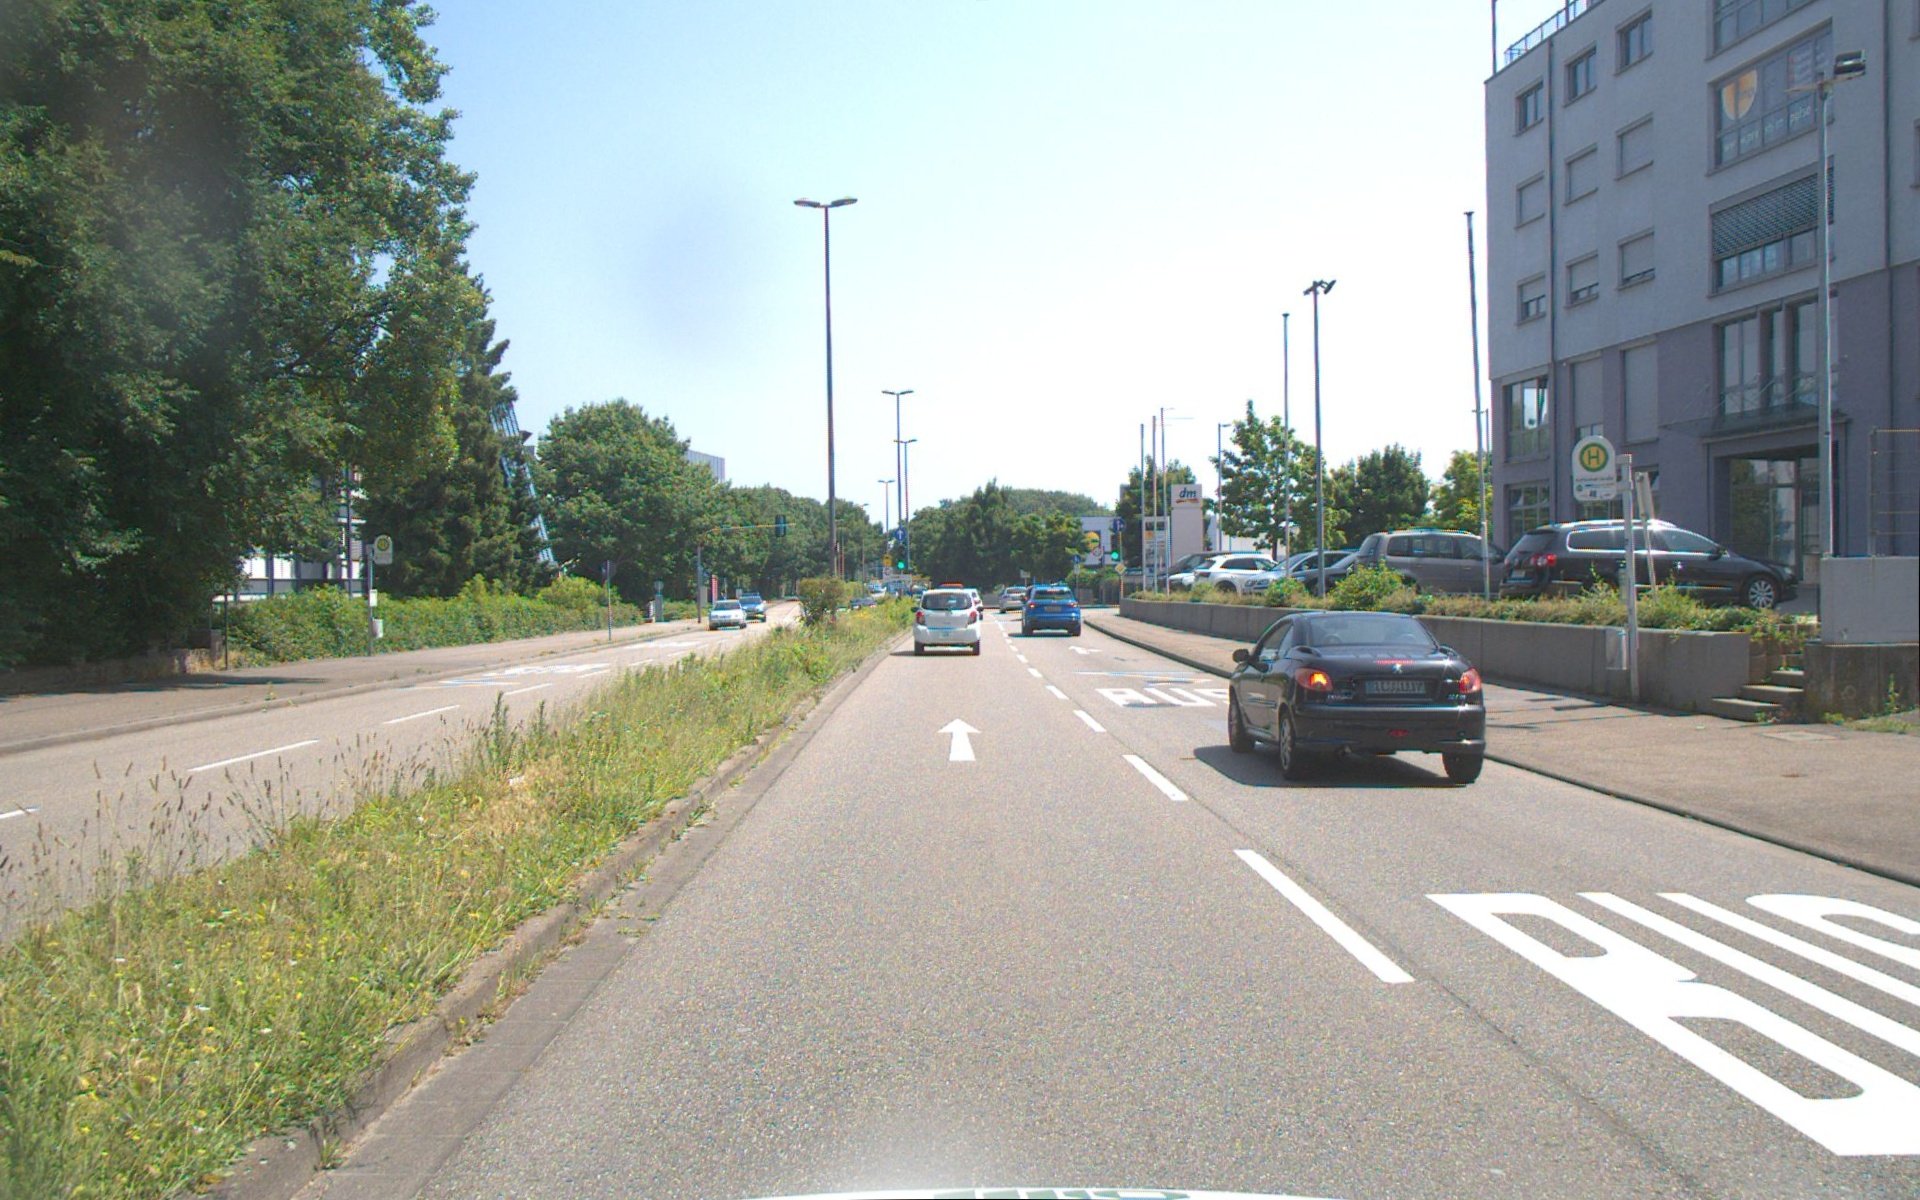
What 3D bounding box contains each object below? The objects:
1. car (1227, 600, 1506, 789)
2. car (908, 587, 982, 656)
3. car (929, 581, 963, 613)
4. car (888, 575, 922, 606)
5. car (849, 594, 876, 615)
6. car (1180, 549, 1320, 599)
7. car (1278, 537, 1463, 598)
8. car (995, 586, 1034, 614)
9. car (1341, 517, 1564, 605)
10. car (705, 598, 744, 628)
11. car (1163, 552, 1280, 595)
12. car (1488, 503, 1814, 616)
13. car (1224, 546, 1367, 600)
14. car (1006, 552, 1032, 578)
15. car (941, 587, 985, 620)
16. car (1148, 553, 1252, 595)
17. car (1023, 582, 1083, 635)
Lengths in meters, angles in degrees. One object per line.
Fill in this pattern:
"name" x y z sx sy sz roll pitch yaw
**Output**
"car" 3.491 0.746 14.824 1.594 1.387 3.605 1 1 0
"car" -0.332 0.477 40.258 1.712 1.546 3.746 0 1 0
"car" -0.832 -0.169 97.284 1.741 1.770 3.997 -1 0 -4
"car" -3.271 -0.600 97.413 1.784 1.690 3.996 -1 2 -5
"car" -6.369 0.277 107.849 1.543 1.291 3.725 -1 0 -6
"car" 10.017 -0.889 57.331 4.443 1.571 2.000 -2 0 -1
"car" 10.538 -0.815 42.663 4.234 1.392 1.999 -2 0 -3
"car" 3.017 -0.021 92.519 1.953 1.445 3.999 -2 0 -1
"car" 10.492 -0.821 35.463 4.142 1.676 1.999 -2 0 -2
"car" -11.694 0.631 82.398 1.702 1.437 4.366 -1 0 -6
"car" 10.386 -1.046 65.889 4.260 1.571 1.999 -2 0 -3
"car" 11.084 -0.644 26.741 4.408 1.610 1.999 -2 0 -2
"car" 9.989 -0.798 49.250 3.868 1.477 1.753 -2 0 -23
"car" 4.863 -2.882 136.863 1.735 2.048 3.988 -2 1 -4
"car" 0.121 0.135 77.890 1.953 1.467 3.999 -1 0 -2
"car" 9.924 -1.065 68.519 3.907 1.571 1.999 -2 0 -3
"car" 3.029 0.241 54.453 1.790 1.607 3.606 -1 1 0
